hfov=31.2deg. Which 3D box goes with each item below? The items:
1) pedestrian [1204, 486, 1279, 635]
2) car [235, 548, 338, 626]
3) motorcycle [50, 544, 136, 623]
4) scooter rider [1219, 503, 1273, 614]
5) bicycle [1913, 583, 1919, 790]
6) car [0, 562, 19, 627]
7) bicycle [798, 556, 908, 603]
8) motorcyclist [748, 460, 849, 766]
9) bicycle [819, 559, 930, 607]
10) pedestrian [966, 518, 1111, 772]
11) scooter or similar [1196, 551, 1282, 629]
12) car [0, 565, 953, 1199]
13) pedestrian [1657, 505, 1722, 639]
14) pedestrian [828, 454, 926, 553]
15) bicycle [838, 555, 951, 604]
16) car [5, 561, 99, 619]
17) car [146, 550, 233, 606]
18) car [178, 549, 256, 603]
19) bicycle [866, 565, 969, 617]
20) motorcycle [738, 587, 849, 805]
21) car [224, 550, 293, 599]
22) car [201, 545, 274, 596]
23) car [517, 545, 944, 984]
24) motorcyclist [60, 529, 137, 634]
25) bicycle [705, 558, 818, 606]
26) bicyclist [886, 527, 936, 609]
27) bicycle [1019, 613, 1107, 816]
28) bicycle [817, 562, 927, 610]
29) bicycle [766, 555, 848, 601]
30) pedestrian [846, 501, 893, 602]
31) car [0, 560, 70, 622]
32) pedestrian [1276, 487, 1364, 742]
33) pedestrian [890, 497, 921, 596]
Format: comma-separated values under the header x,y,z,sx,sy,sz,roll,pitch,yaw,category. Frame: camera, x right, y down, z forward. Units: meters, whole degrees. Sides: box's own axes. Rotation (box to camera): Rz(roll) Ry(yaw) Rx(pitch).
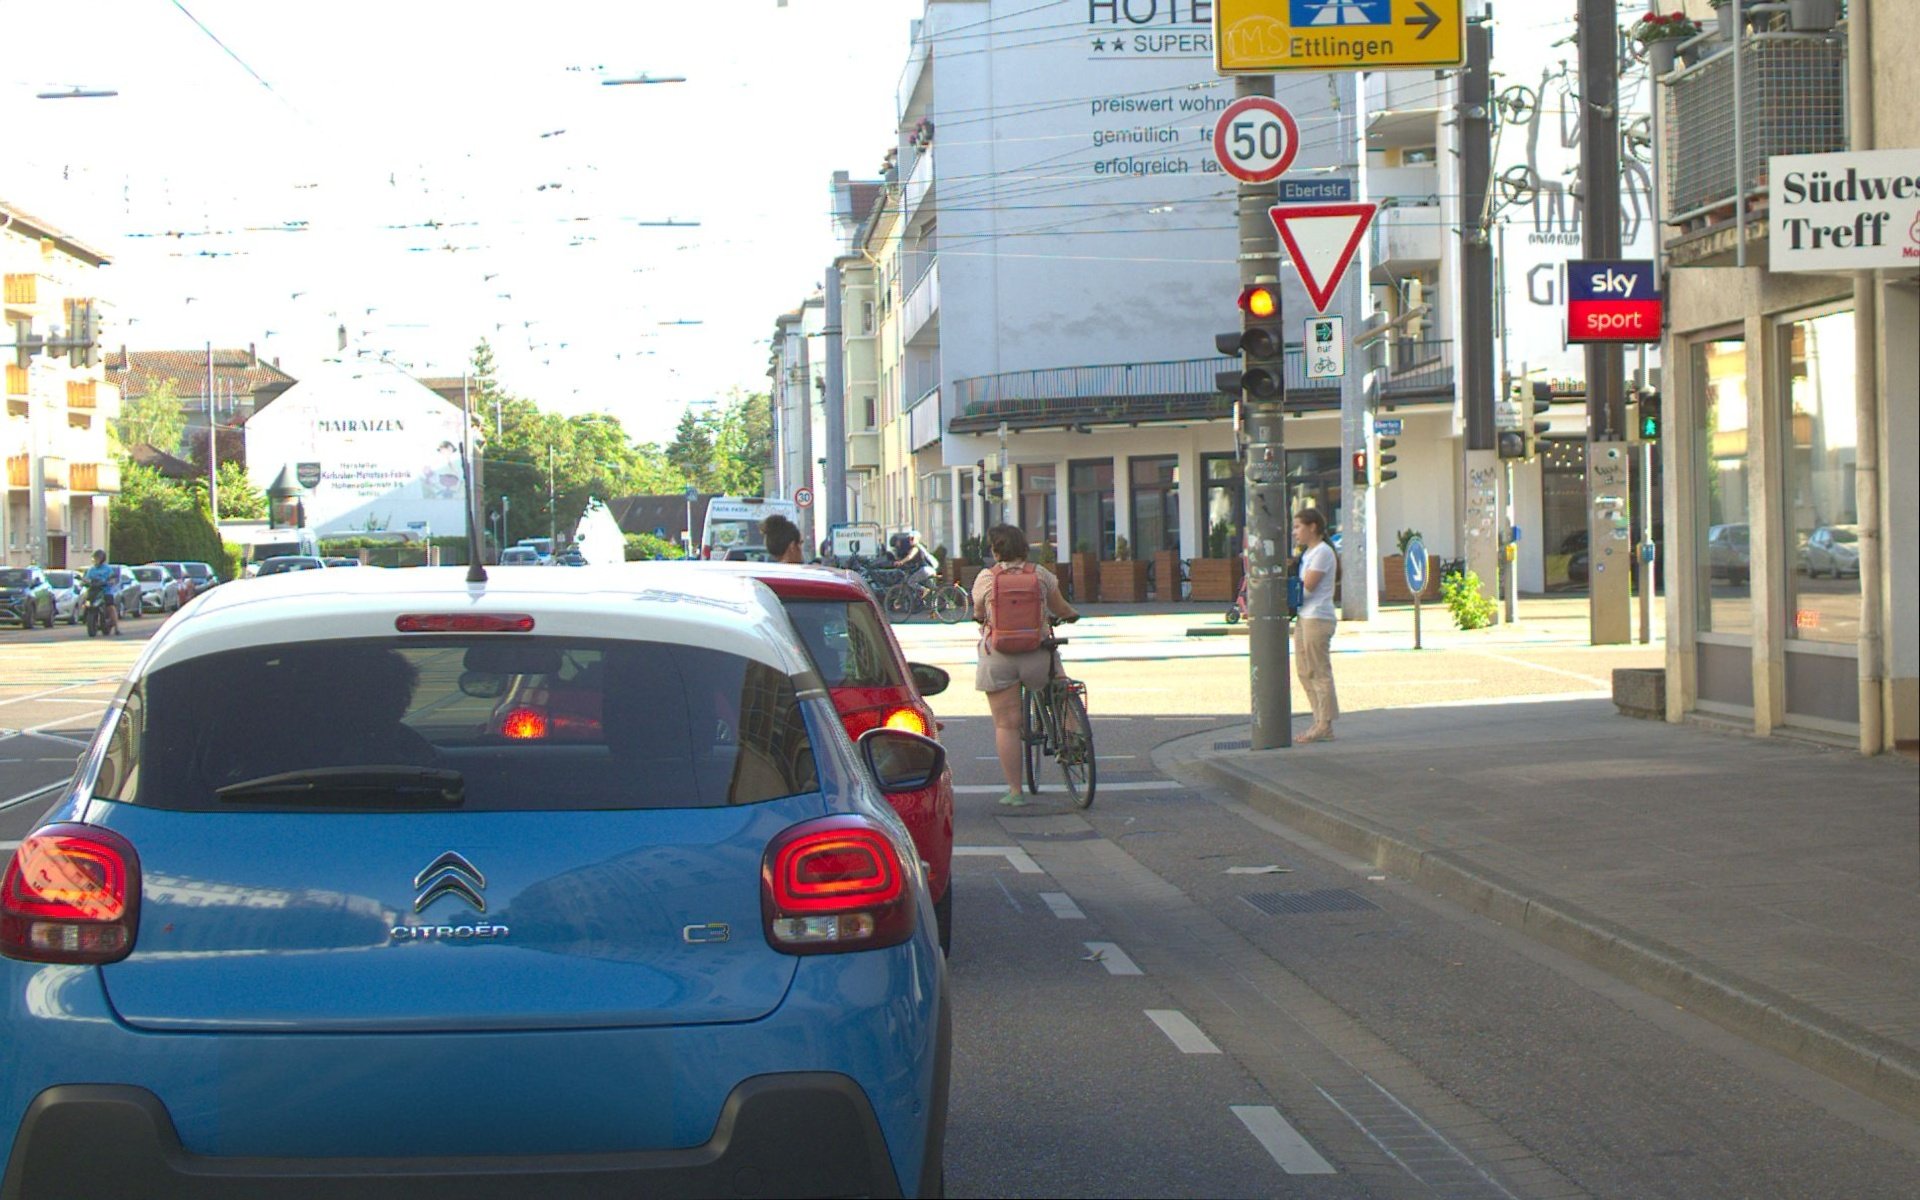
x,y,z,sx,sy,sz,roll,pitch,yaw,category
3.837,-0.543,46.928,0.926,2.007,0.759,1,0,-1,pedestrian
-14.945,-0.307,76.428,1.774,1.660,3.857,1,1,-4,car
-16.851,-0.340,66.888,0.923,1.481,3.726,1,1,-3,motorcycle
4.772,-0.688,57.389,0.722,1.826,0.717,-1,1,17,scooter rider
4.893,0.427,15.760,0.542,0.995,1.706,1,1,-1,bicycle
-23.161,-0.137,79.464,1.787,1.506,4.150,1,1,-2,car
-2.128,-0.406,68.296,2.132,0.898,0.367,1,0,-9,bicycle
-0.914,0.070,19.613,0.526,1.710,0.717,1,0,-1,motorcyclist
-1.667,-0.327,67.114,2.132,0.898,0.367,1,0,-9,bicycle
0.454,0.256,20.205,0.777,1.455,0.682,1,0,-3,pedestrian
4.659,-0.170,57.430,1.351,1.265,0.443,-1,1,17,scooter or similar
-0.869,0.657,7.174,1.654,1.439,3.523,1,1,-1,car
8.811,-0.337,41.513,0.736,1.595,0.748,1,0,13,pedestrian
-1.749,-2.034,73.524,1.993,2.007,4.000,1,1,-1,pedestrian
-1.266,-0.397,66.097,2.132,0.898,0.367,1,0,-9,bicycle
-24.293,-0.280,92.094,1.732,1.493,4.001,1,1,-5,car
-23.832,-0.698,106.461,1.983,1.681,4.001,1,1,-3,car
-24.041,-0.785,111.333,1.882,1.681,4.001,1,1,-4,car
-0.775,-0.165,62.255,1.855,0.900,0.349,1,0,19,bicycle
-0.922,0.505,19.430,0.526,1.136,2.290,1,1,-1,motorcycle
-24.714,-0.894,121.252,1.846,1.681,3.875,1,1,-4,car
-24.479,-0.997,116.603,1.833,1.681,4.001,1,1,-4,car
-0.798,0.549,13.173,1.424,1.462,2.924,-1,0,-1,car
-16.852,-0.375,67.269,1.185,2.007,1.276,-1,1,-3,motorcyclist
-3.822,-0.349,66.296,2.132,0.898,0.367,1,0,-9,bicycle
-0.882,-0.580,62.330,0.746,1.472,0.562,1,0,18,bicyclist
0.604,0.657,20.582,0.427,1.119,1.998,1,1,-1,bicycle
-1.728,-0.276,67.551,2.132,0.898,0.367,1,0,-9,bicycle
-3.097,-0.444,69.465,1.785,0.898,0.366,1,1,34,bicycle
-1.817,-0.975,69.129,0.630,2.007,0.724,1,0,-36,pedestrian
-23.598,-0.249,86.102,1.785,1.493,4.001,1,1,-4,car
2.547,0.098,24.350,0.517,1.777,0.595,1,0,-2,pedestrian
-1.109,-1.089,70.172,0.577,2.007,0.626,1,0,-3,pedestrian
